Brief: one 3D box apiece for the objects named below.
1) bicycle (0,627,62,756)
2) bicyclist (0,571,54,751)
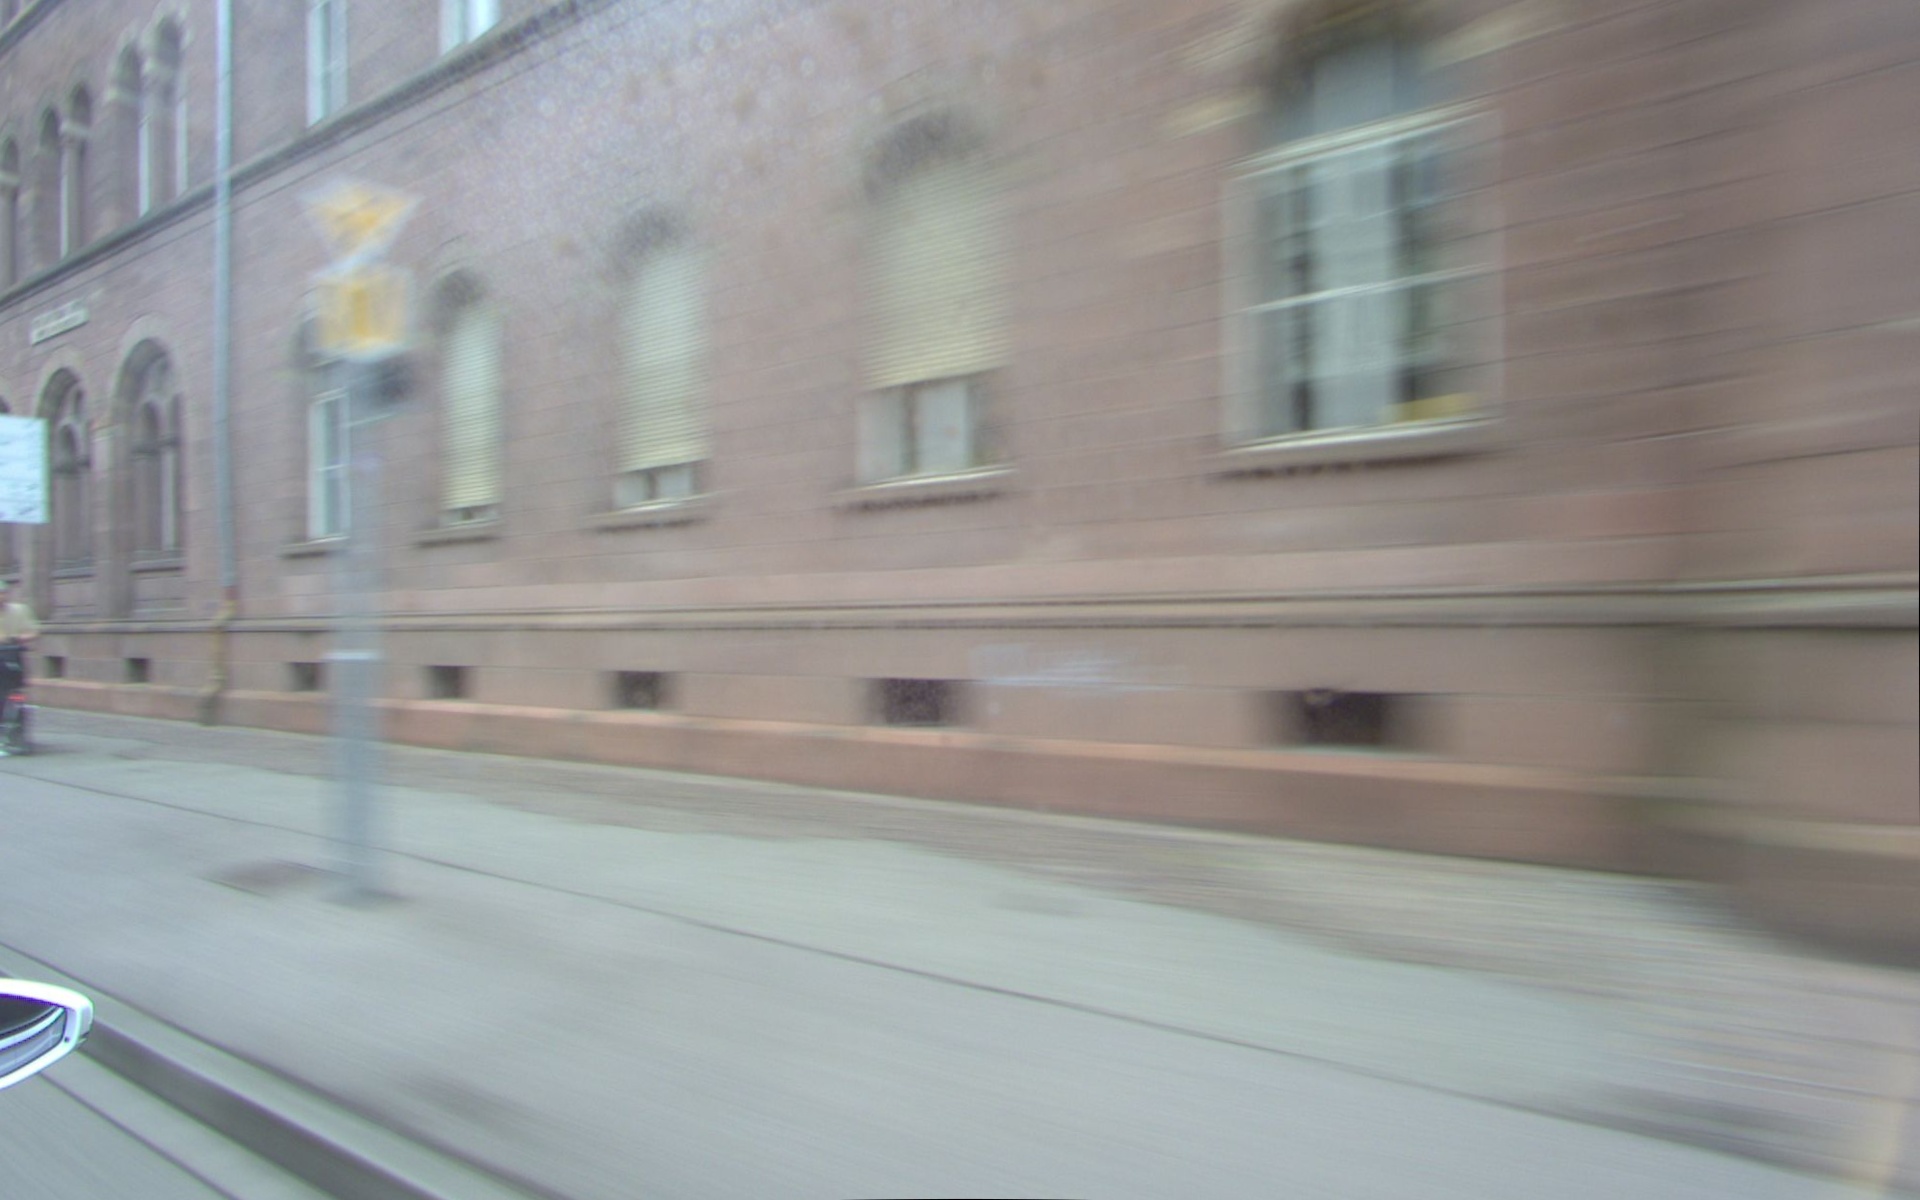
[{"bbox_3d":[-10.532,0.955,10.949,2.195,1.293,0.444,-1,1,32],"label":"bicycle"},{"bbox_3d":[-10.178,0.644,10.767,0.444,1.882,0.528,-1,0,31],"label":"bicyclist"}]
